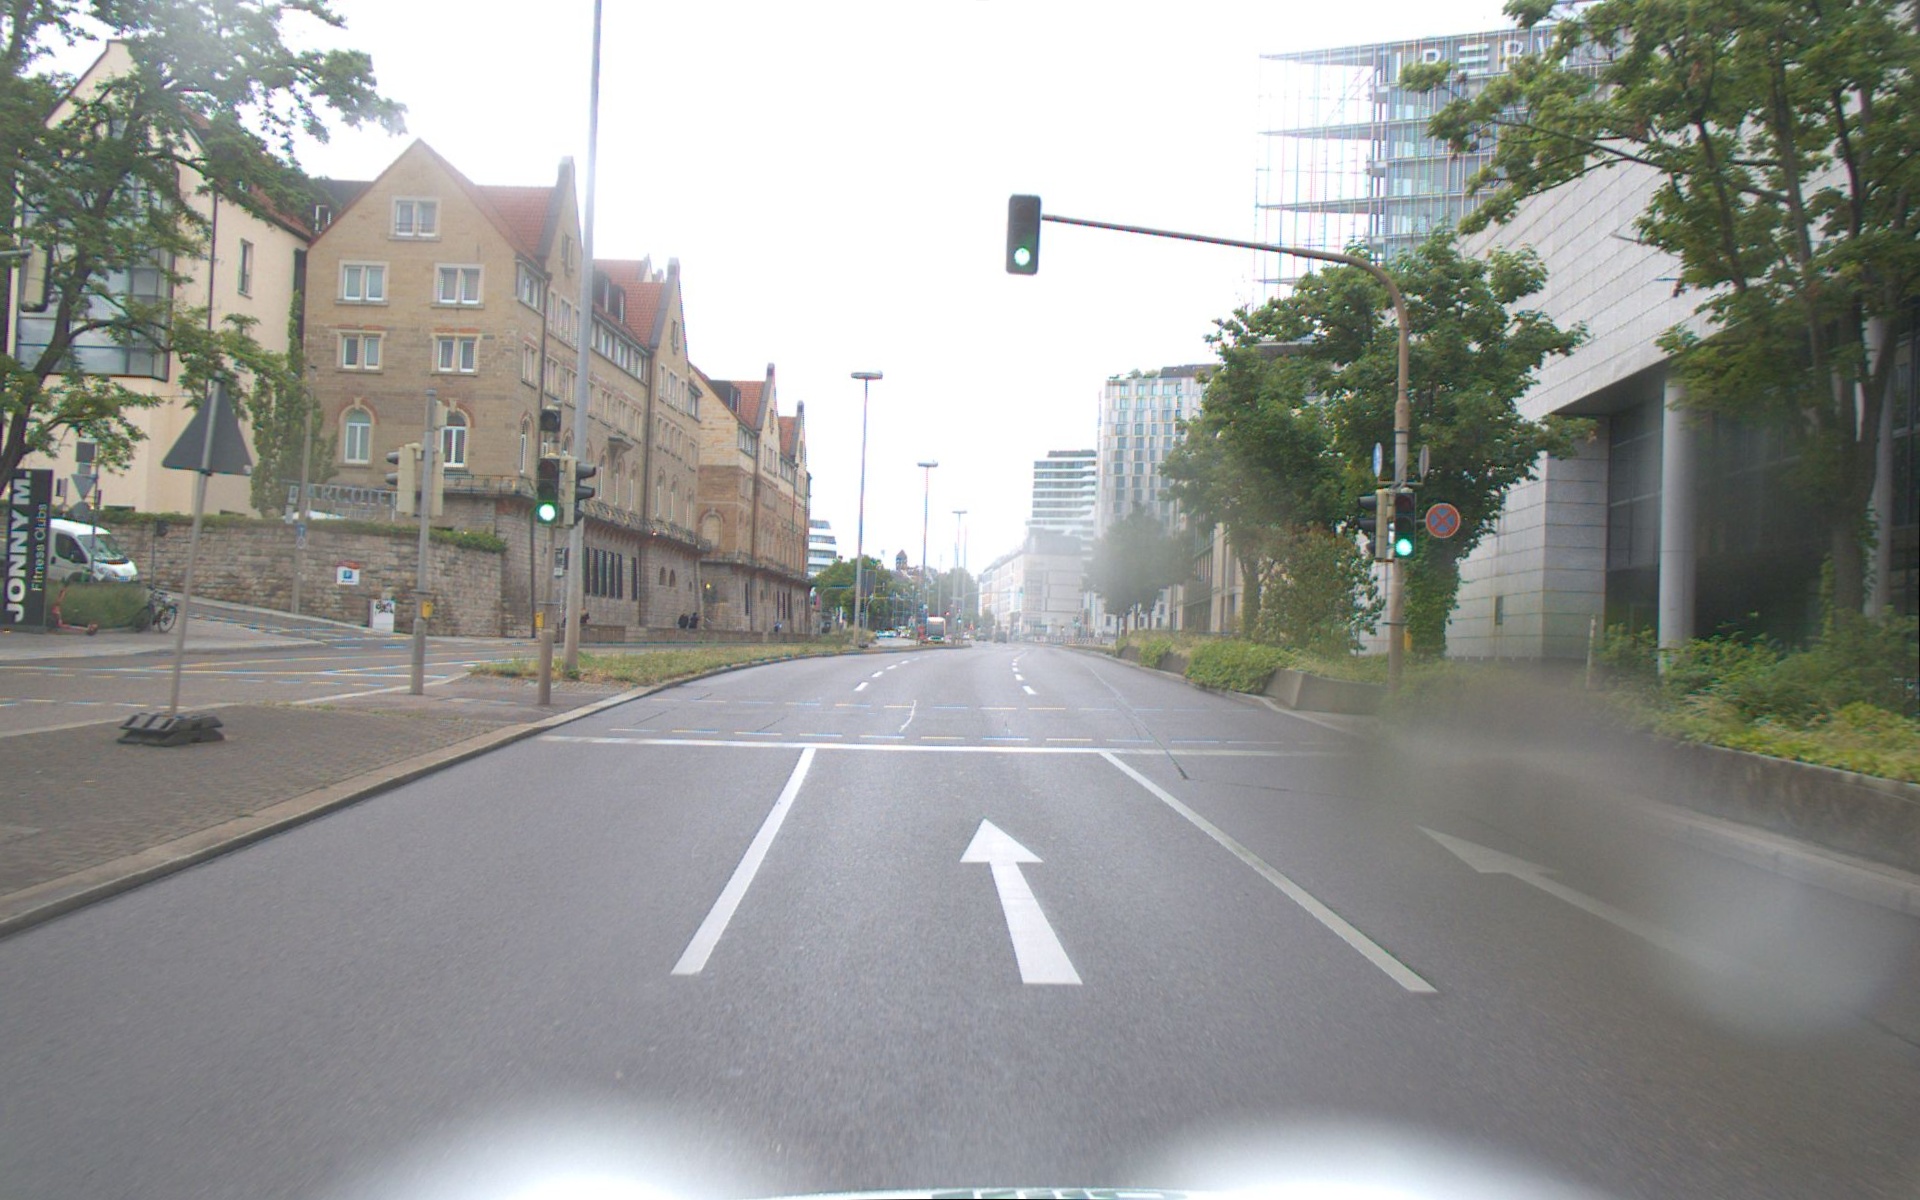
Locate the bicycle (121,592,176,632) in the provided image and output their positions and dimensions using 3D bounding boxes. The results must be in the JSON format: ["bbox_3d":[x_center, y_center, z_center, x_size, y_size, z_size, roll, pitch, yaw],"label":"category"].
[{"bbox_3d":[-20.909,0.311,42.650,0.447,1.008,1.759,2,-1,3],"label":"bicycle"}]

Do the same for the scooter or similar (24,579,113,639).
[{"bbox_3d":[-20.741,0.216,38.507,1.729,1.268,0.367,5,-2,-27],"label":"scooter or similar"}]

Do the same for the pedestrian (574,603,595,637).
[{"bbox_3d":[-16.973,0.902,74.713,0.738,1.504,0.714,1,0,2],"label":"pedestrian"}]

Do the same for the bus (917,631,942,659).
[{"bbox_3d":[-4.079,6.112,223.430,2.642,3.622,10.094,1,-2,2],"label":"bus"}]

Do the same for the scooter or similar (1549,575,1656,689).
[{"bbox_3d":[9.196,0.448,23.695,1.295,1.557,0.503,2,0,4],"label":"scooter or similar"}]

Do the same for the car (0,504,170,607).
[{"bbox_3d":[-28.318,-1.491,50.805,6.764,2.313,2.516,8,3,3],"label":"car"}]

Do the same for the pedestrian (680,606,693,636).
[{"bbox_3d":[-16.505,1.285,99.879,0.627,1.776,0.621,1,0,1],"label":"pedestrian"}]

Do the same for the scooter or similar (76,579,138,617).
[{"bbox_3d":[-24.260,-0.055,47.050,1.439,0.937,0.444,6,0,1],"label":"scooter or similar"}]

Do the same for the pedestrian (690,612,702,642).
[{"bbox_3d":[-15.833,1.632,99.200,0.627,1.776,0.621,1,0,1],"label":"pedestrian"}]

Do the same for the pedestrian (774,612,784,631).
[{"bbox_3d":[-14.752,1.740,134.924,0.738,1.504,0.714,1,0,2],"label":"pedestrian"}]

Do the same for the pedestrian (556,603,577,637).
[{"bbox_3d":[-17.794,0.912,74.753,0.738,1.504,0.714,1,0,2],"label":"pedestrian"}]
